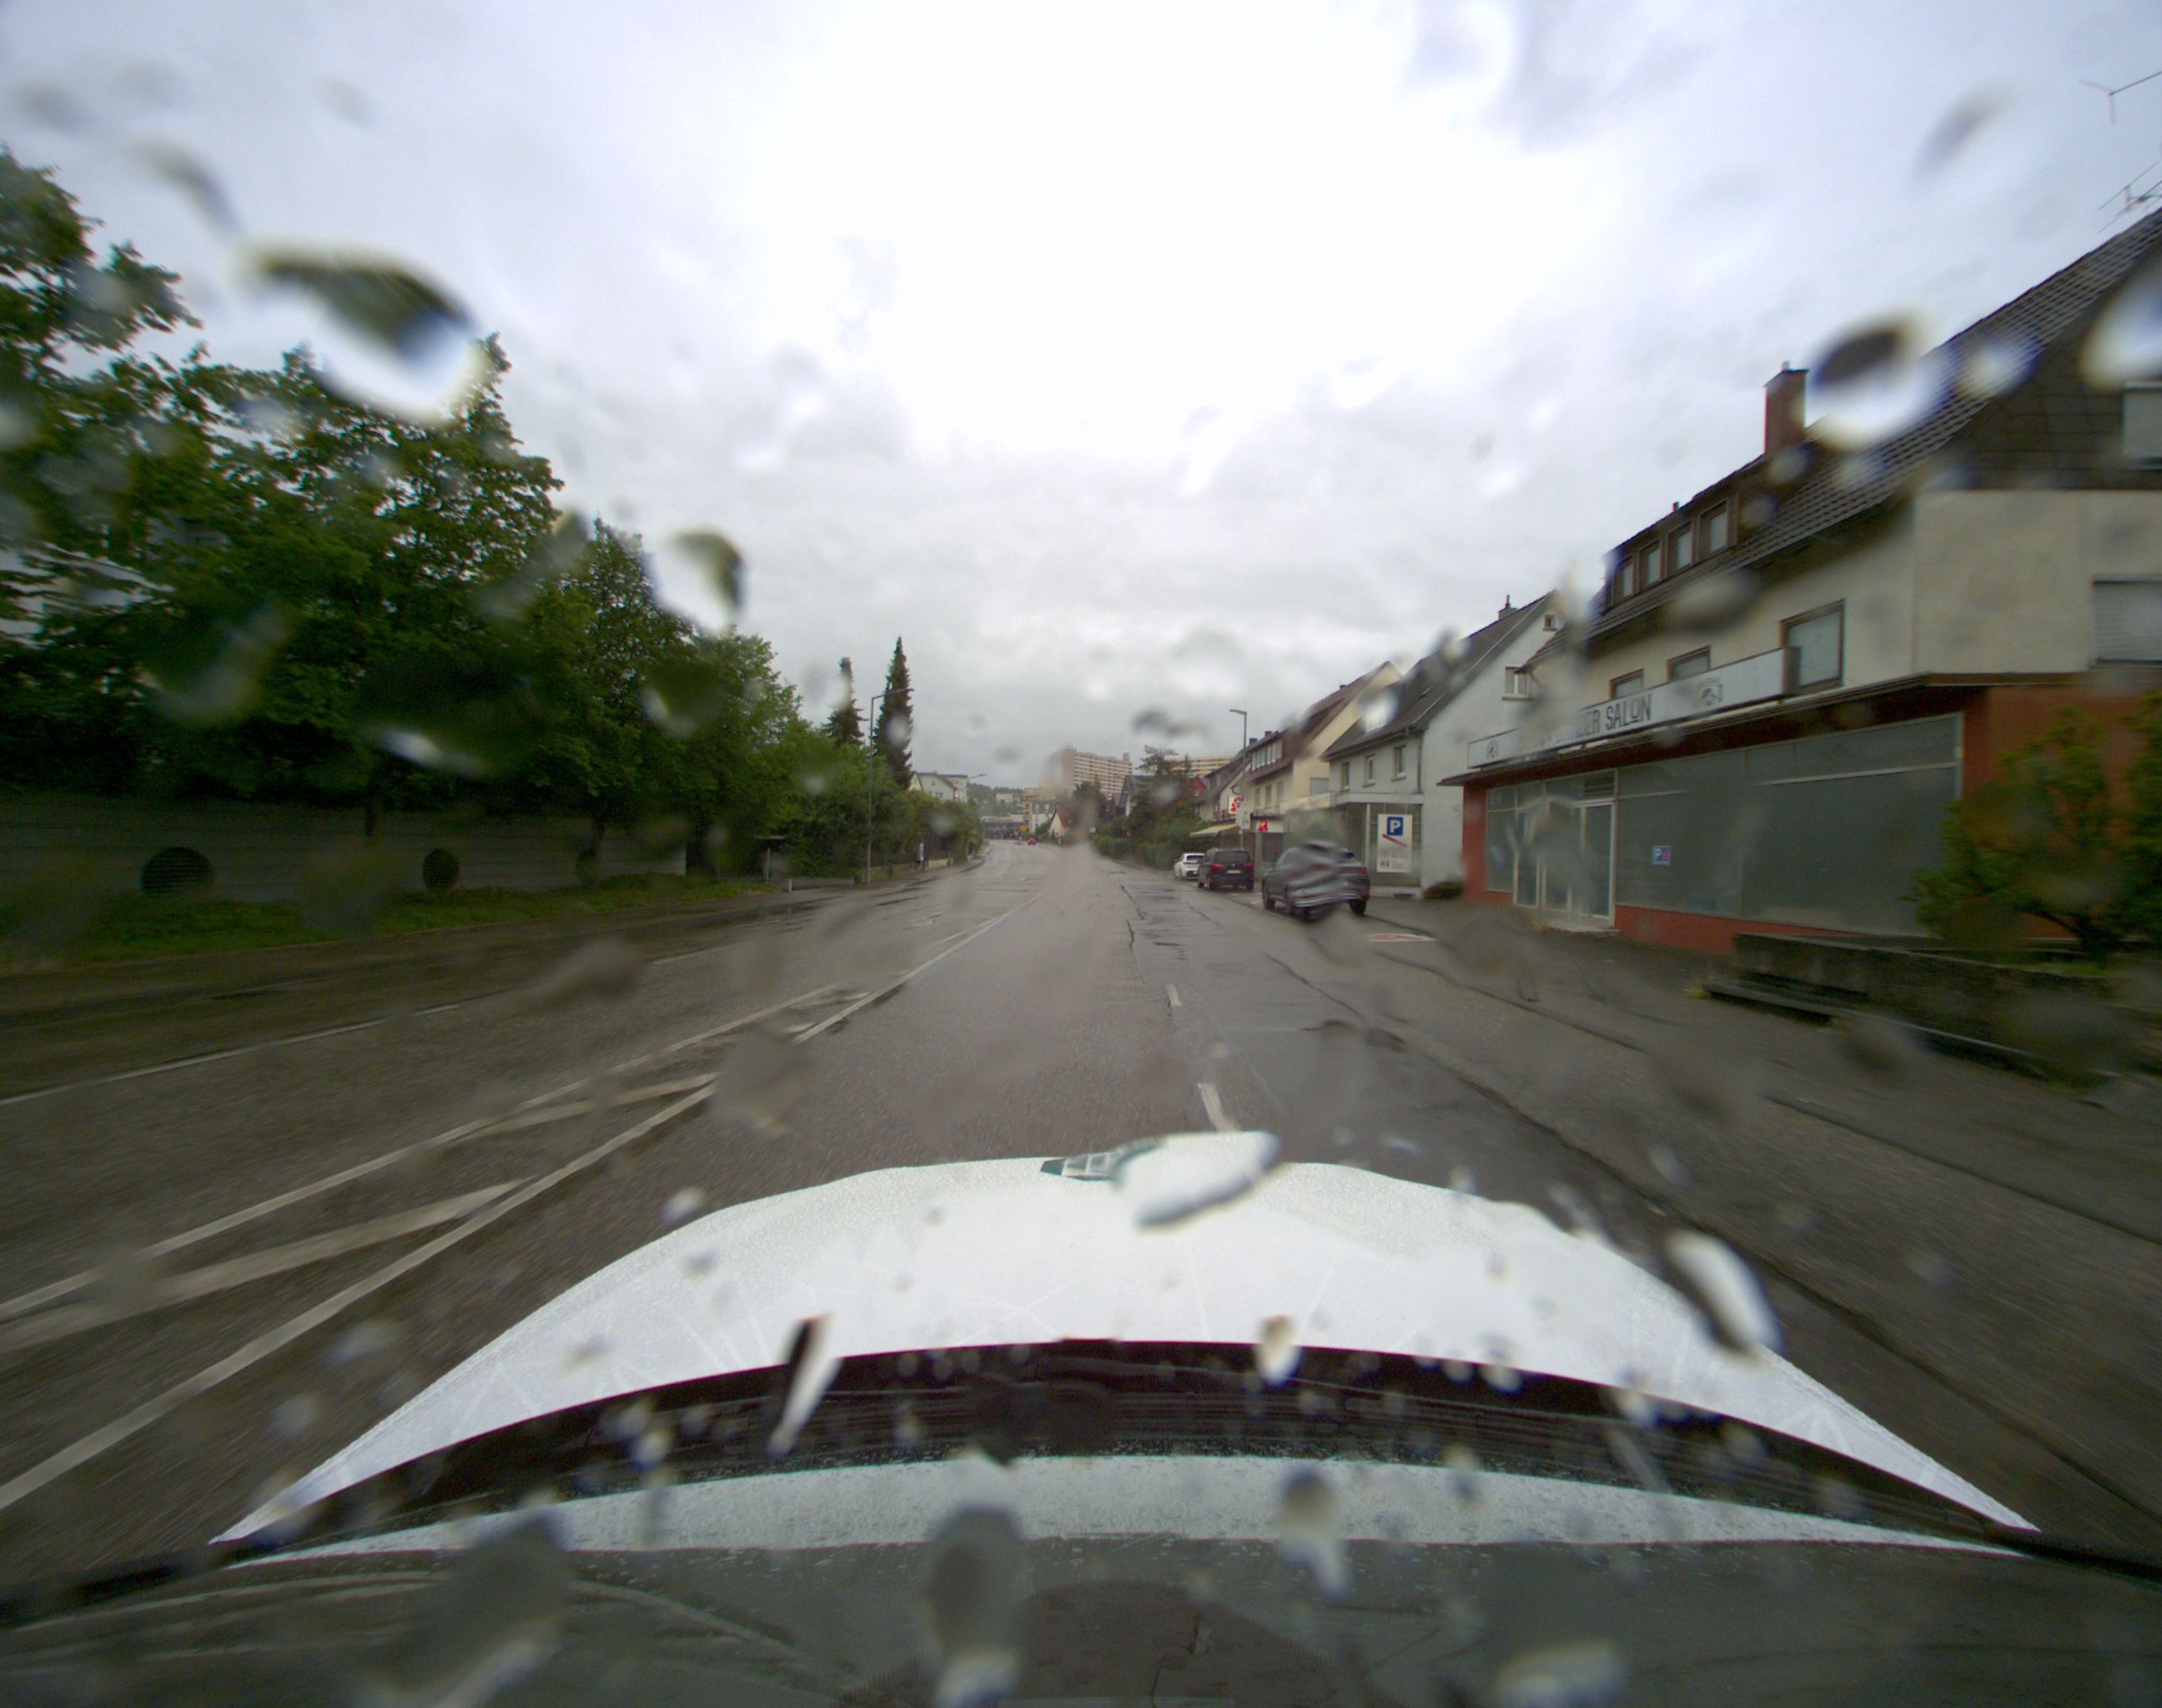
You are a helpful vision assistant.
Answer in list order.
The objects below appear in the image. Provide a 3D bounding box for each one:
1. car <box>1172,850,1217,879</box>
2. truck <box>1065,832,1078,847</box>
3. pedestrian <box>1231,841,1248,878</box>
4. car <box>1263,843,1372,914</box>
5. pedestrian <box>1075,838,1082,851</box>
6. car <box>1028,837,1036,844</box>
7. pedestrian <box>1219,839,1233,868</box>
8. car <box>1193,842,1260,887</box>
[{"bbox_3d":[6.106,0.527,44.228,1.809,1.448,4.203,-1,0,0],"label":"car"},{"bbox_3d":[-1.491,-2.244,125.045,1.988,2.303,3.998,0,1,-1],"label":"truck"},{"bbox_3d":[8.188,0.285,42.161,0.616,1.891,0.651,1,0,35],"label":"pedestrian"},{"bbox_3d":[6.147,0.589,21.711,1.866,1.643,4.799,-1,0,5],"label":"car"},{"bbox_3d":[-0.409,-1.421,120.484,0.826,1.797,0.794,0,1,-23],"label":"pedestrian"},{"bbox_3d":[-10.888,-2.963,180.014,1.790,1.669,3.995,0,0,-3],"label":"car"},{"bbox_3d":[8.436,-0.039,47.313,0.554,1.678,0.511,1,0,-38],"label":"pedestrian"},{"bbox_3d":[6.056,0.424,34.459,2.028,1.695,4.965,-1,0,2],"label":"car"}]
